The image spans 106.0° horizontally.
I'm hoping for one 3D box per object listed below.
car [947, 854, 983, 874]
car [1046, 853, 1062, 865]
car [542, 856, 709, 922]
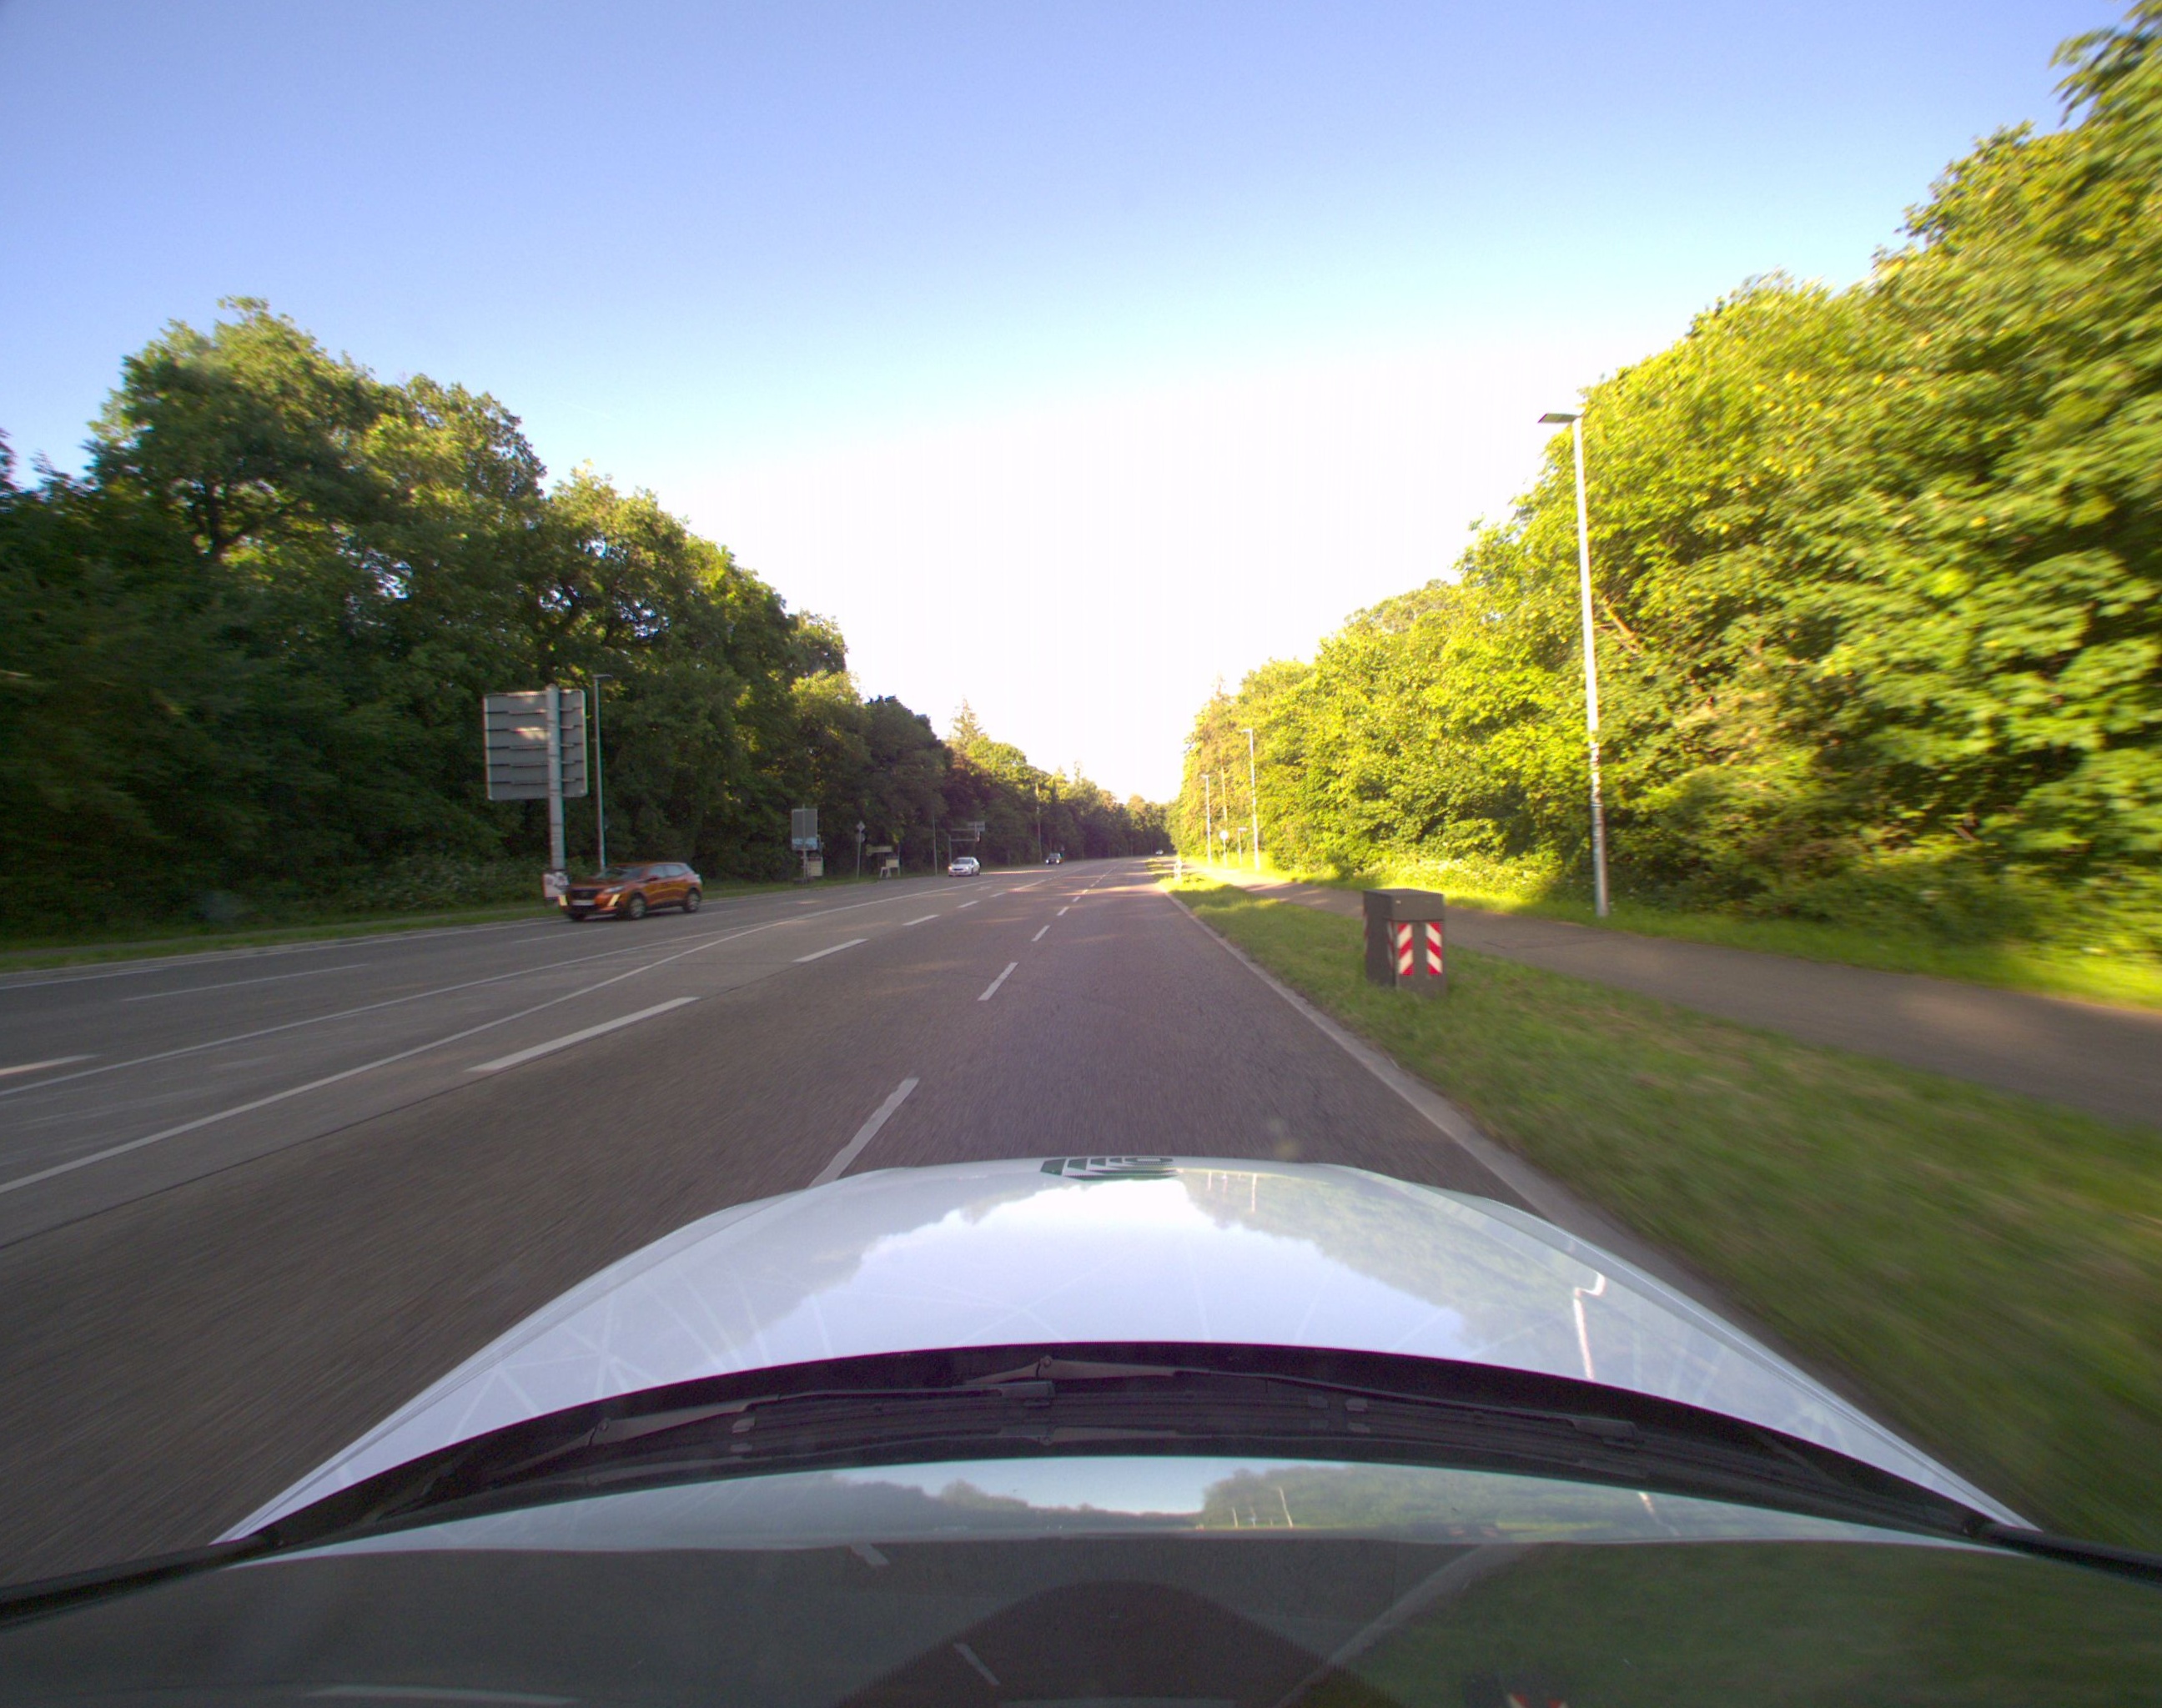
[{"bbox_3d":[-8.989,0.755,63.311,1.817,1.504,4.311,-1,0,4],"label":"car"},{"bbox_3d":[-3.916,0.718,117.978,1.817,1.589,4.356,-1,0,4],"label":"car"},{"bbox_3d":[-12.177,0.874,22.144,1.816,1.544,4.263,-1,0,6],"label":"car"}]
